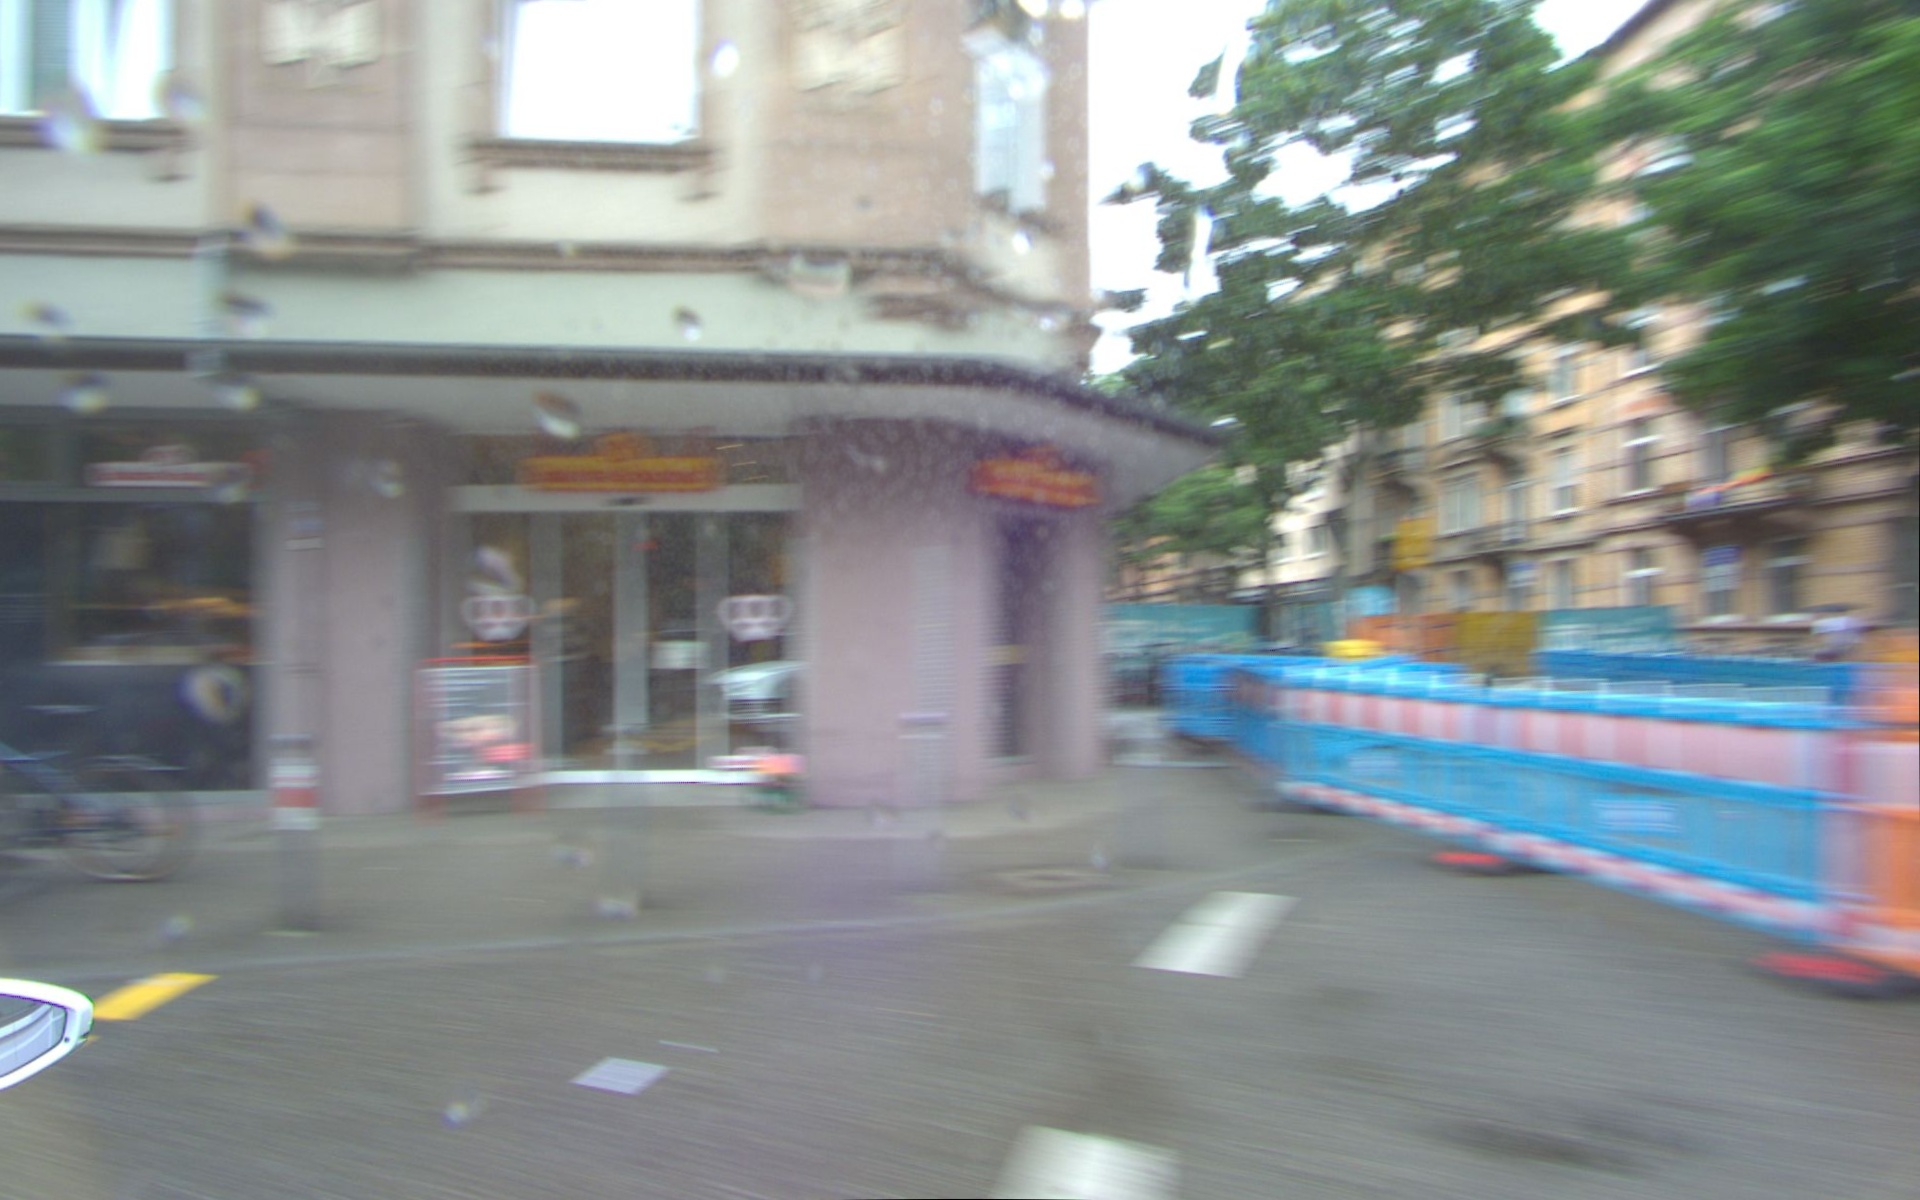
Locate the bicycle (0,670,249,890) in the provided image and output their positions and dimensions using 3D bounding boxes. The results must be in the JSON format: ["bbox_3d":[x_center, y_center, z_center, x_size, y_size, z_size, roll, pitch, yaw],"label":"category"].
[{"bbox_3d":[-5.224,0.983,5.636,1.901,1.142,0.625,0,-1,-9],"label":"bicycle"}]

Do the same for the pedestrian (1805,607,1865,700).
[{"bbox_3d":[18.569,1.131,21.254,0.661,1.943,0.640,0,-1,-4],"label":"pedestrian"}]
